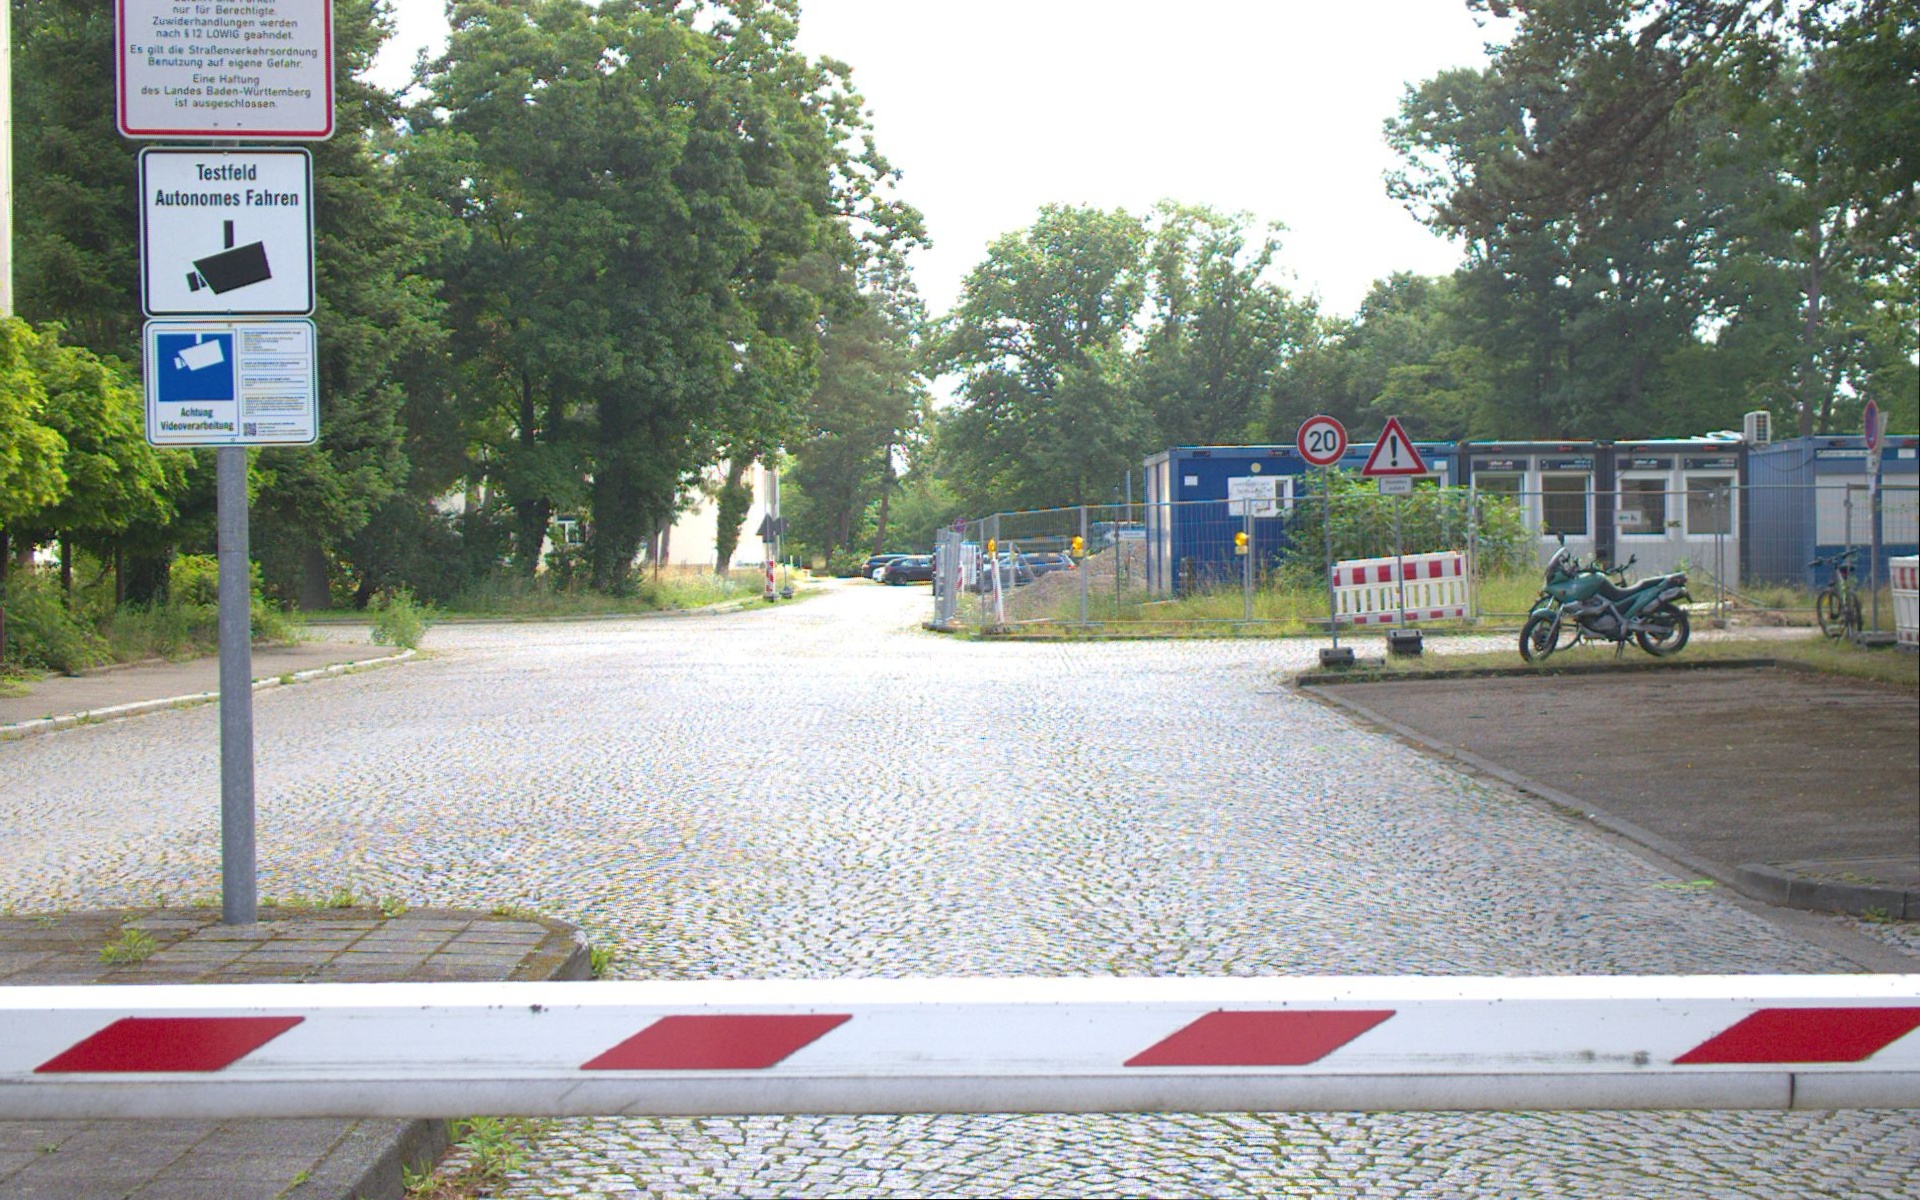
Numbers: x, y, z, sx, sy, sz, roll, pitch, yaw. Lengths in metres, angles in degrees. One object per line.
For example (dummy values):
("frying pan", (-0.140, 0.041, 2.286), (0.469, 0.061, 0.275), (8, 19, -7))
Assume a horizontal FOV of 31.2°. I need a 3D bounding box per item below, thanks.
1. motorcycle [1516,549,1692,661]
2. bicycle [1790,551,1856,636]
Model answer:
("motorcycle", (7.538, 0.059, 40.278), (1.956, 1.191, 0.461), (-2, 6, -1))
("bicycle", (10.491, -0.066, 41.816), (0.332, 1.004, 1.726), (-1, -1, -1))
